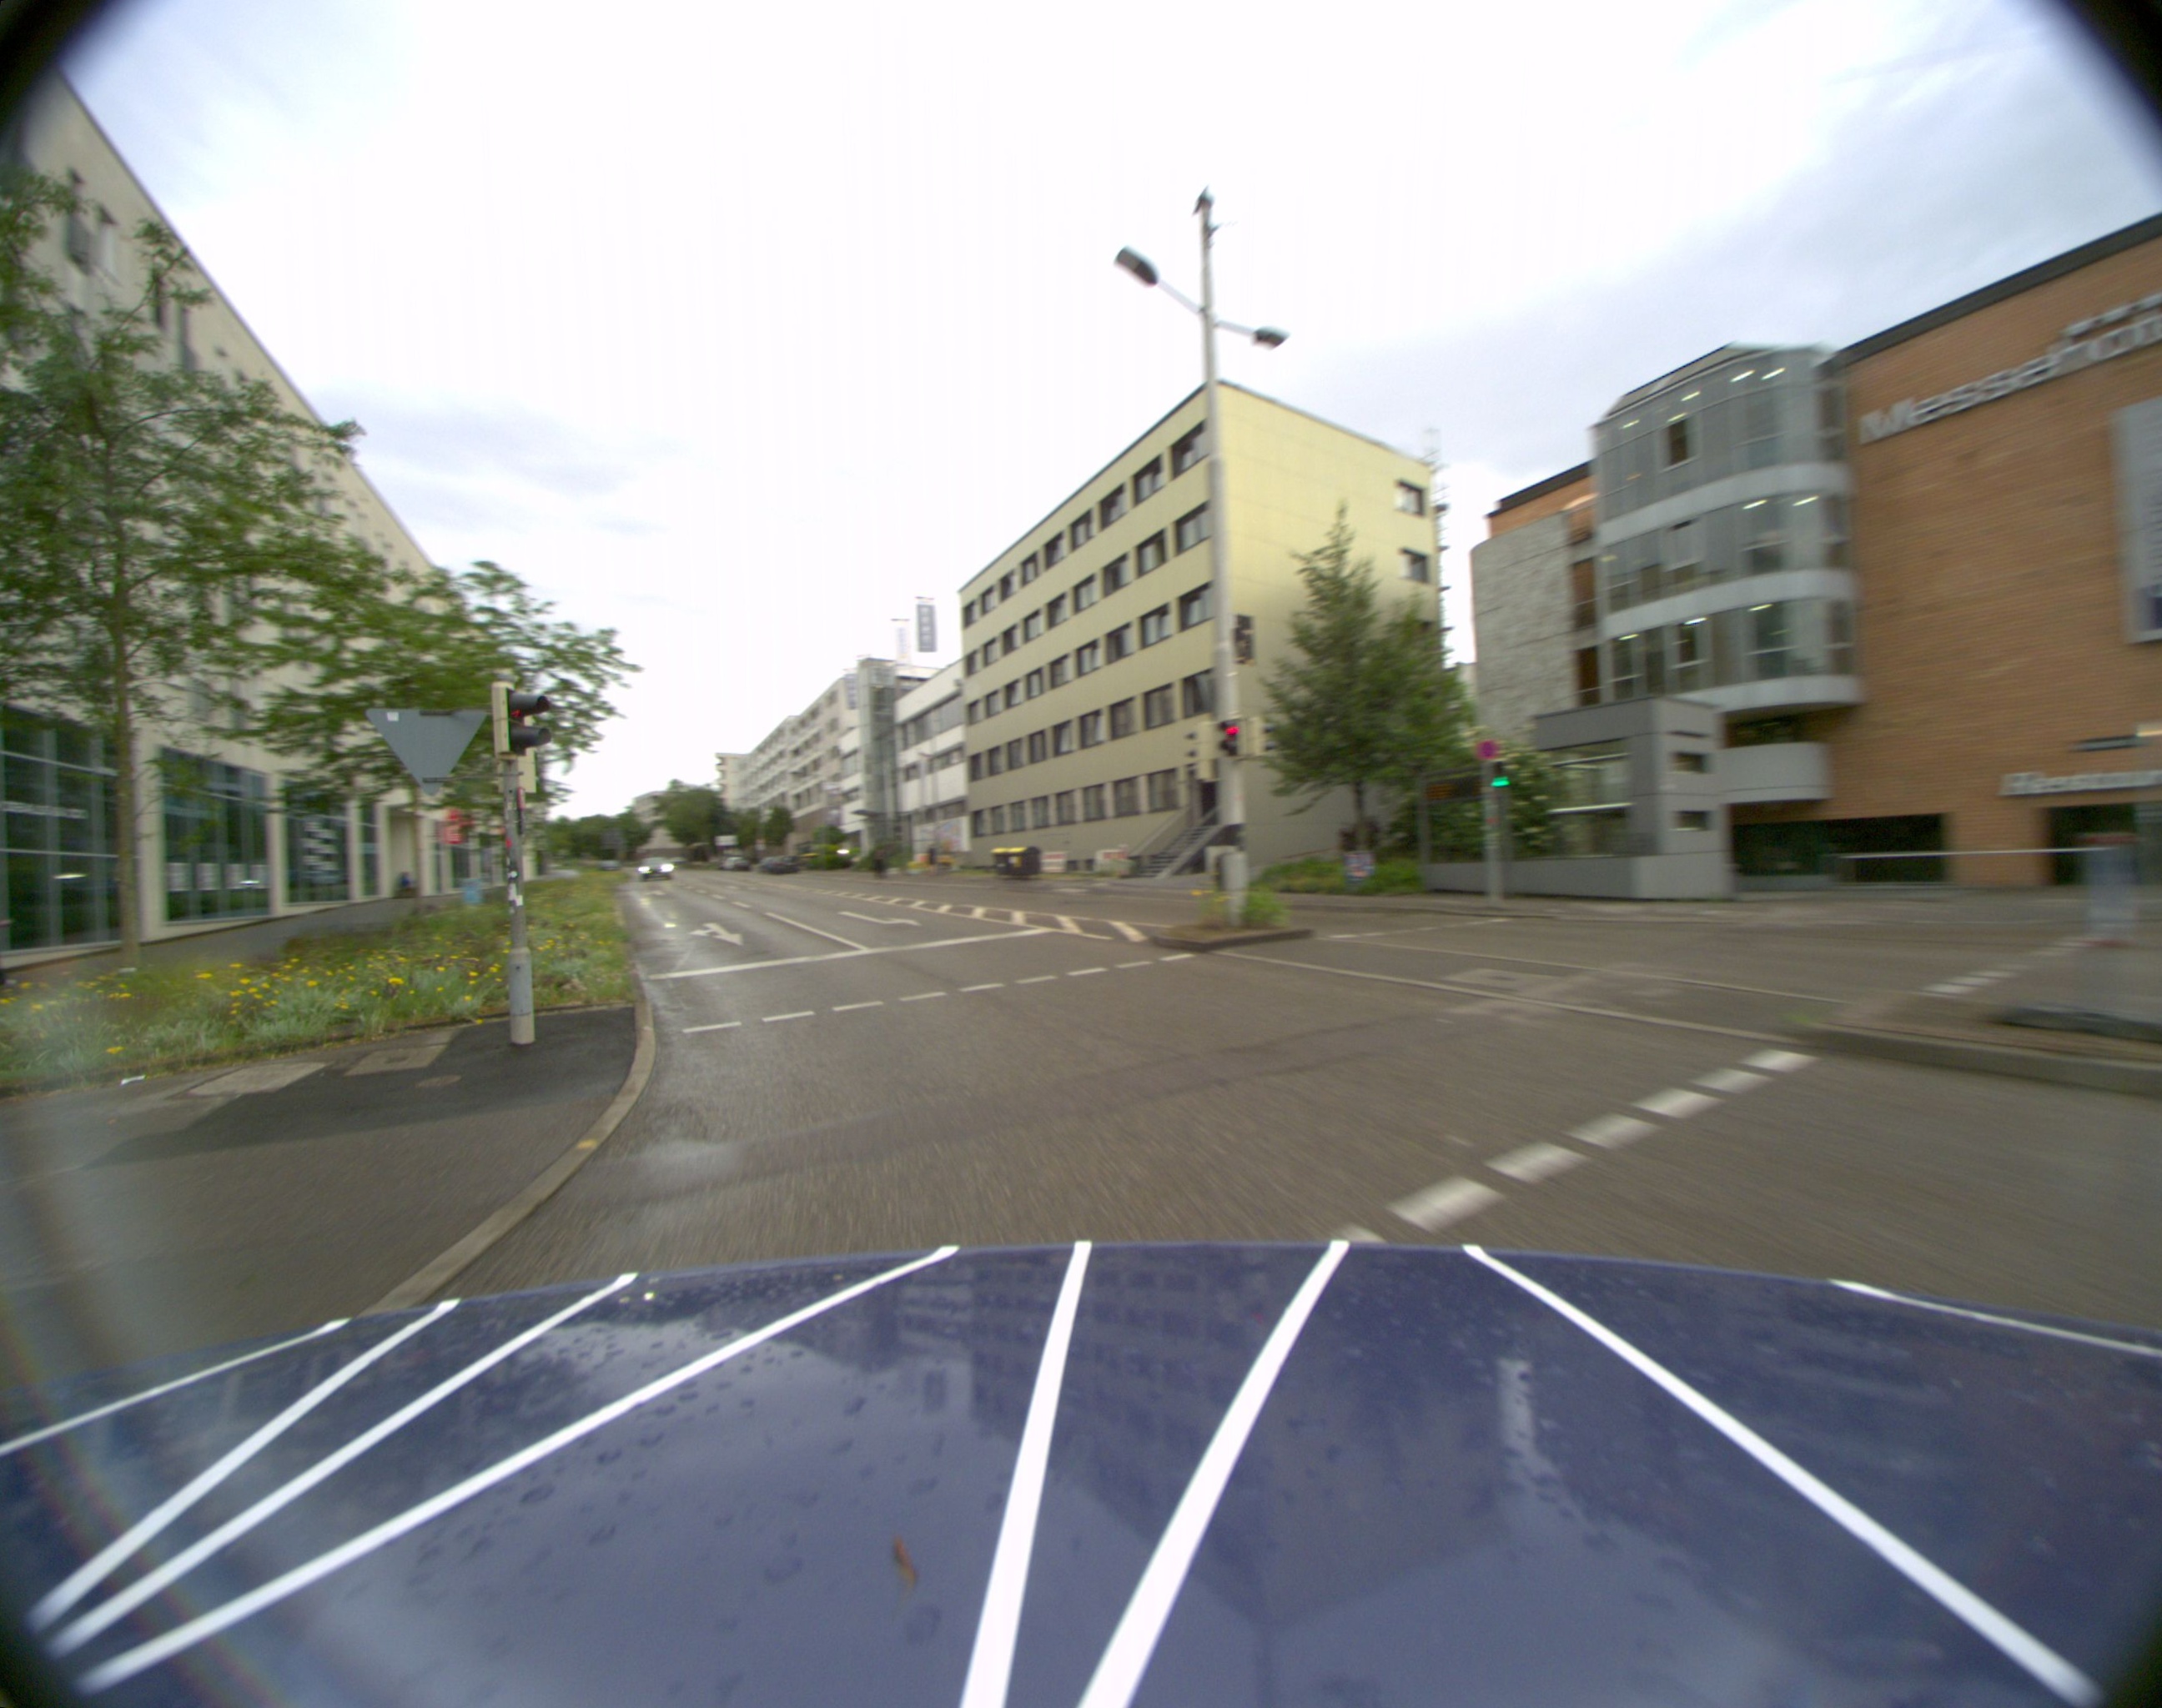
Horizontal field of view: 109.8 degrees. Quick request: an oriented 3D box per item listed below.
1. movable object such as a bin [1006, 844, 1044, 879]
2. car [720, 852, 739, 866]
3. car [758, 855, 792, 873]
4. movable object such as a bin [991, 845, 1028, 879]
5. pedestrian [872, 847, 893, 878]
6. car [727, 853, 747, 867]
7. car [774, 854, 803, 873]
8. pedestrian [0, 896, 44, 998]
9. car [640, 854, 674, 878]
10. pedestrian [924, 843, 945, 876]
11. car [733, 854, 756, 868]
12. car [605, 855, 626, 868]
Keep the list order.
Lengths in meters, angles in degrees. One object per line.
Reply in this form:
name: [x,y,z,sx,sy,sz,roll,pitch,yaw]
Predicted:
movable object such as a bin: [-2.429,0.309,32.942,1.059,1.437,1.355,-6,4,-29]
car: [-41.836,0.557,90.328,1.634,1.608,3.962,0,0,-32]
car: [-26.373,0.834,65.497,1.664,1.395,4.258,-3,1,-36]
movable object such as a bin: [-3.209,0.336,34.167,1.059,1.437,1.427,-6,4,-29]
pedestrian: [-11.157,0.453,42.661,0.770,1.667,0.966,-5,3,-30]
car: [-38.911,0.670,85.831,1.601,1.459,3.413,1,0,-33]
car: [-23.902,0.744,62.044,1.522,1.501,2.974,0,0,-36]
pedestrian: [-18.928,1.627,13.019,0.876,1.702,1.085,-5,2,-29]
car: [-31.609,0.884,56.686,2.002,1.565,3.990,-5,3,-29]
pedestrian: [-7.906,0.271,40.975,0.758,1.722,0.939,-5,3,-28]
car: [-36.506,0.747,82.281,1.666,1.383,3.730,-1,1,-33]
car: [-59.998,0.985,98.044,2.002,1.478,3.990,-5,3,-29]
